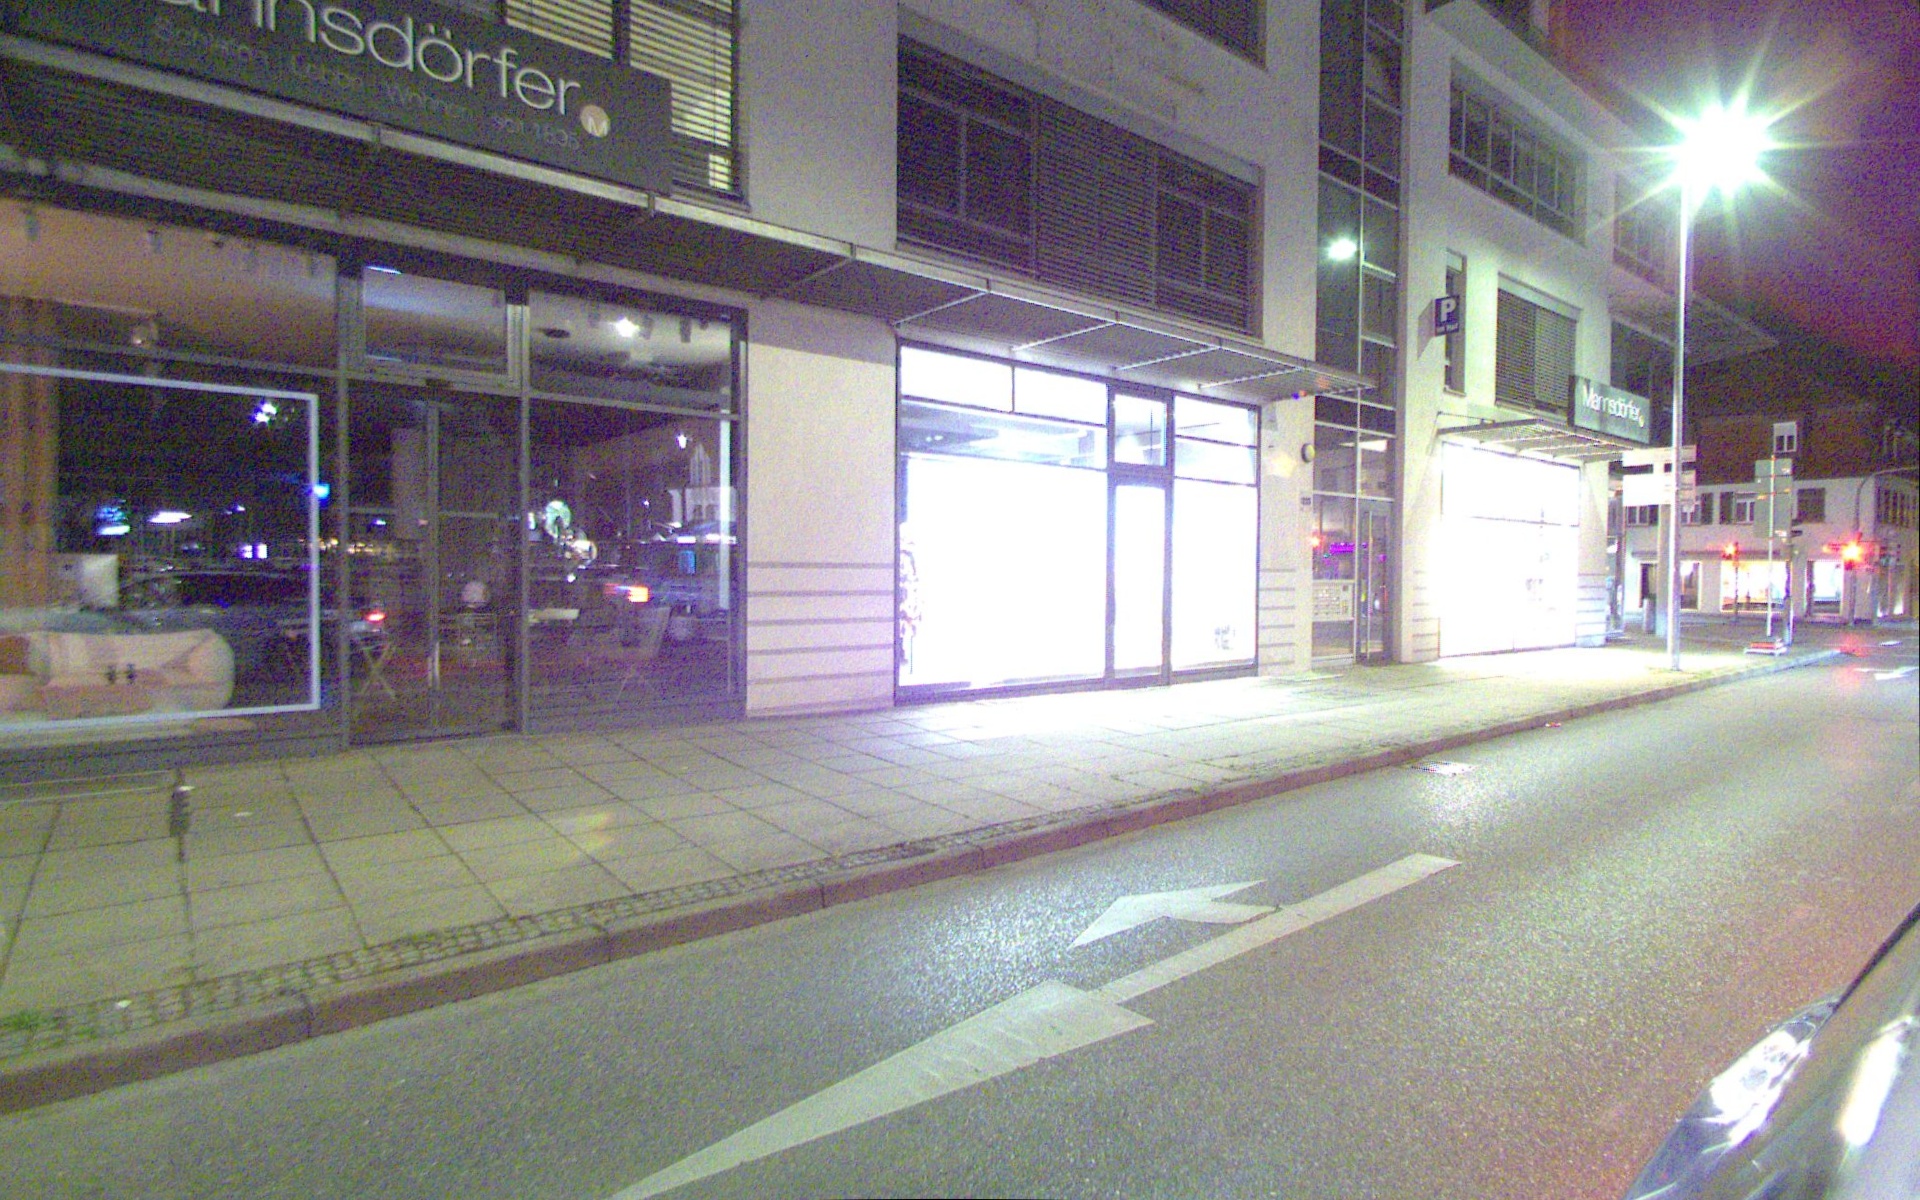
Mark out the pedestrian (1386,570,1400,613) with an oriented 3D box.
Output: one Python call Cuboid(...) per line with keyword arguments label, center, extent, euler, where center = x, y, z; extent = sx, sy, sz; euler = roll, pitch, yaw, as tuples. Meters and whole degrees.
Cuboid(label="pedestrian", center=(17.818, -0.338, 41.646), extent=(0.519, 1.738, 0.562), euler=(0, 0, 24))
